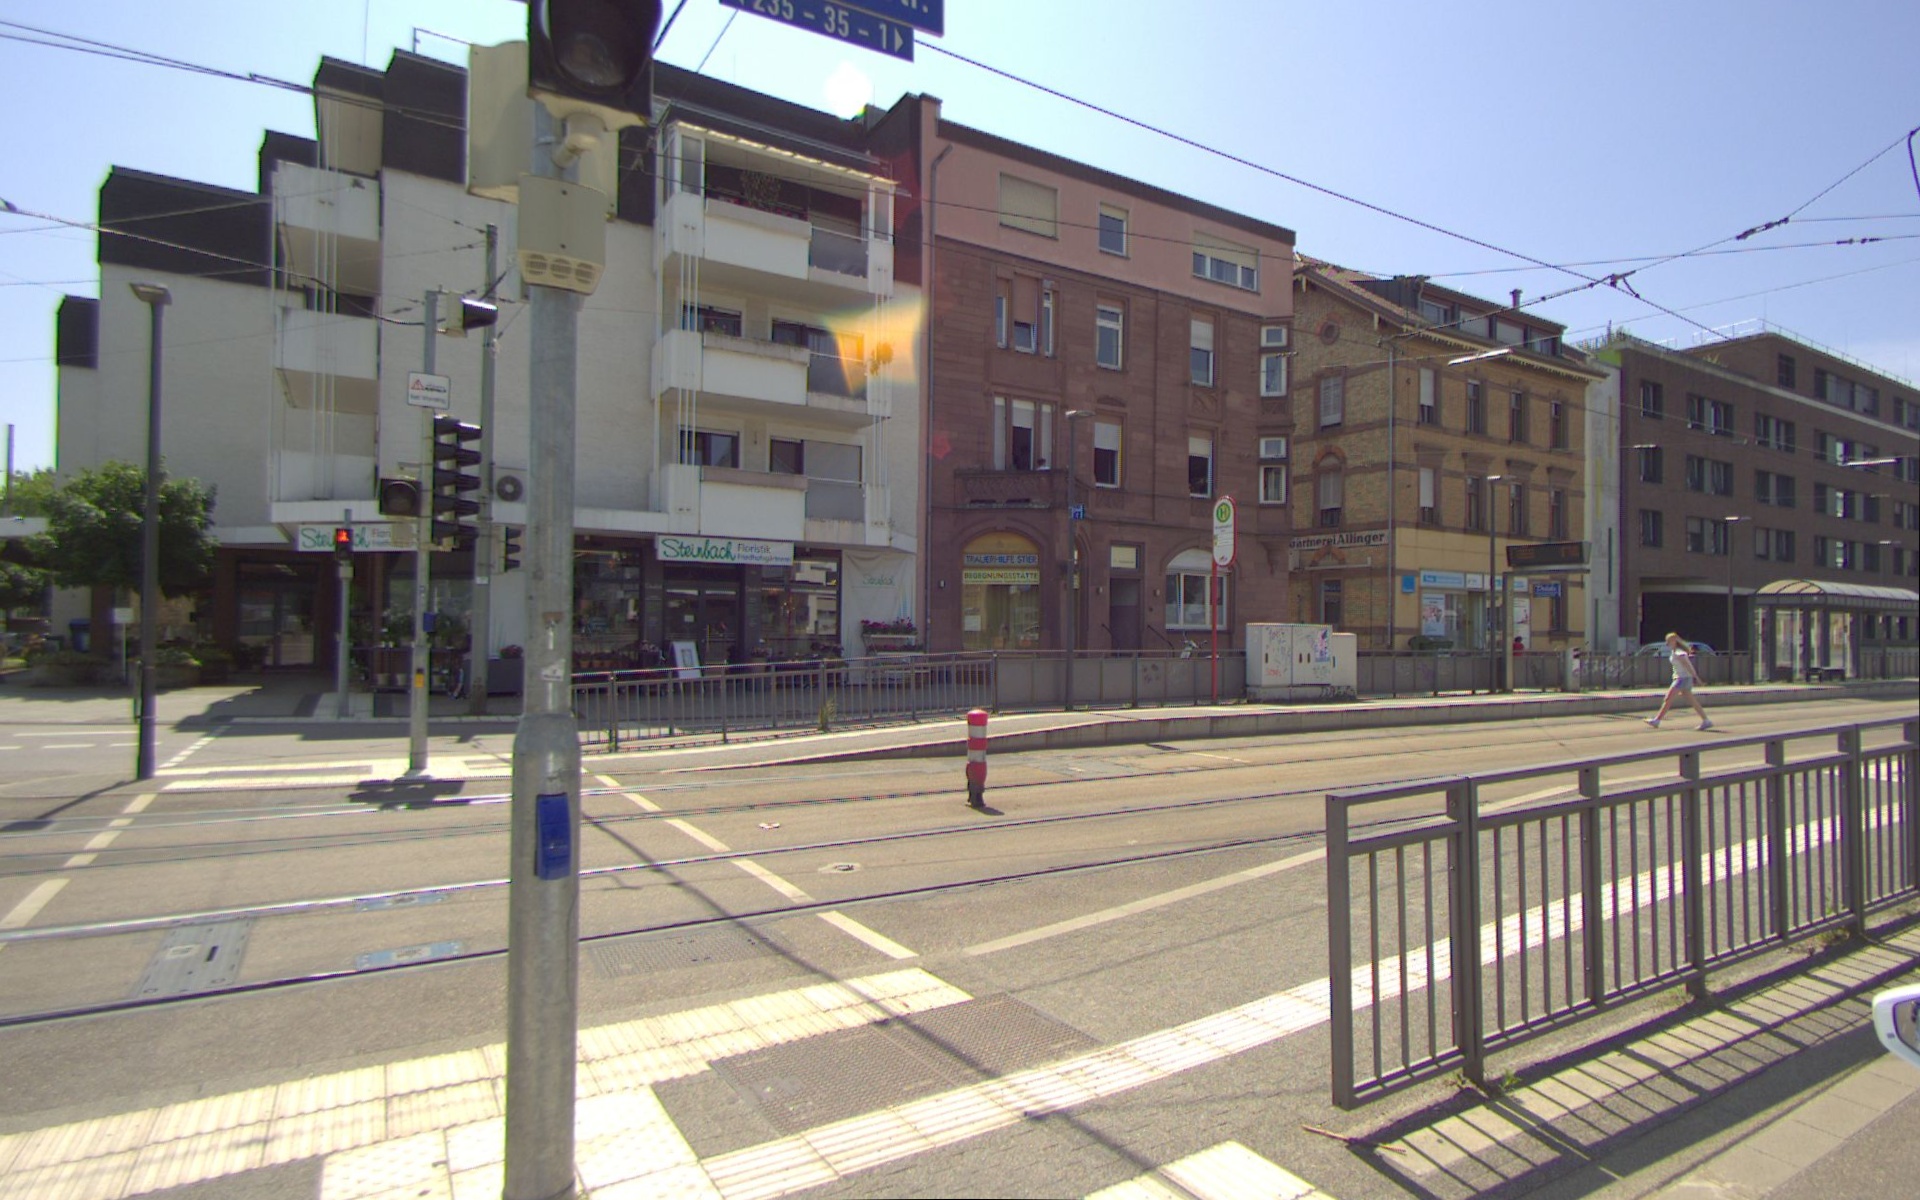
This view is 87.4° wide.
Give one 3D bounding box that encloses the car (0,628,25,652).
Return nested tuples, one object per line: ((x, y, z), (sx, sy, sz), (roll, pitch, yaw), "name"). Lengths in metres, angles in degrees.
((-51.449, 2.109, 53.516), (1.572, 1.256, 3.553), (2, -2, -30), "car")

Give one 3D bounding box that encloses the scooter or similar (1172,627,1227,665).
((7.076, 1.358, 29.671), (1.550, 1.096, 0.488), (1, -2, -15), "scooter or similar")

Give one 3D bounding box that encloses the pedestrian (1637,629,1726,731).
((12.447, 1.361, 17.357), (1.079, 1.696, 0.765), (0, -2, 21), "pedestrian")

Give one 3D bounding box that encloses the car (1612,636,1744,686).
((23.304, 1.940, 32.598), (3.952, 1.528, 1.985), (1, -2, -29), "car")

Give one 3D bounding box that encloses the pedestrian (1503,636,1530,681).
((19.746, 2.067, 35.661), (0.633, 1.581, 0.611), (1, -2, -32), "pedestrian")
